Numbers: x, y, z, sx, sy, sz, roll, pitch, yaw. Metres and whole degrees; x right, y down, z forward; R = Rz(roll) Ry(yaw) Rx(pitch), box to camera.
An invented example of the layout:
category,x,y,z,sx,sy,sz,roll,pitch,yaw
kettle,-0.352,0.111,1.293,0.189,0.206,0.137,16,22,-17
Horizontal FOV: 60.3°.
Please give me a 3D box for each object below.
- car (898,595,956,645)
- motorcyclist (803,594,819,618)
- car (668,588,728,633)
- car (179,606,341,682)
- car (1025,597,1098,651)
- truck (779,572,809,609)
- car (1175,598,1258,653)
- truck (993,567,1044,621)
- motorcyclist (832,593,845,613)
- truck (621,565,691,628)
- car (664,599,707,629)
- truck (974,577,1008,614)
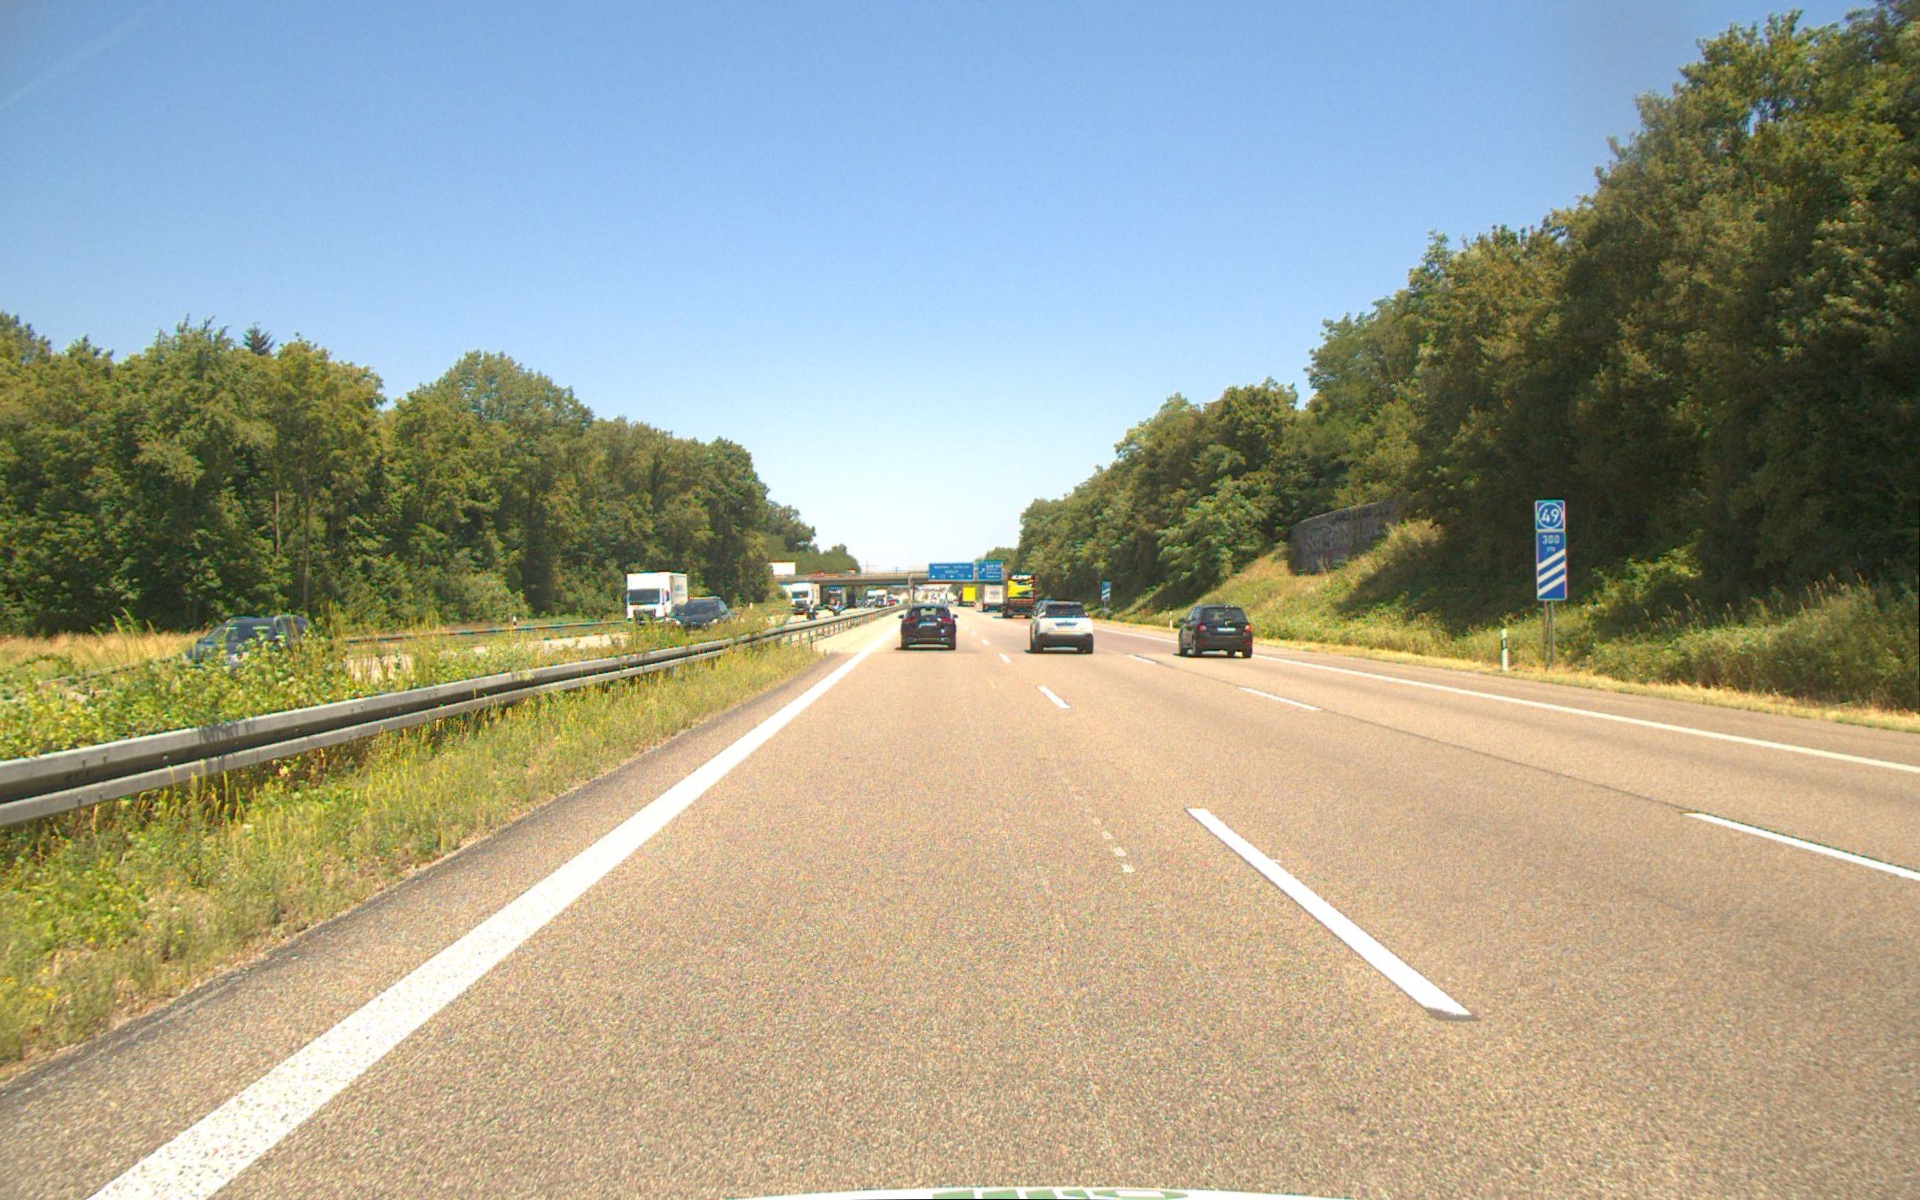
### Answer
category,x,y,z,sx,sy,sz,roll,pitch,yaw
car,-1.078,0.621,52.988,1.763,1.528,4.240,0,0,-2
motorcyclist,-11.383,0.474,126.408,1.129,1.847,1.027,-1,0,-1
car,-10.286,0.400,65.244,1.763,1.725,4.240,0,0,-1
car,-15.581,0.940,37.073,1.763,1.559,4.676,0,0,-2
car,3.077,0.703,50.956,1.861,1.559,4.240,0,0,-2
truck,-21.100,-1.185,210.569,2.897,4.594,12.634,-1,0,-2
car,7.268,0.688,47.219,1.753,1.487,3.949,0,0,0
truck,5.228,-0.522,151.888,3.574,4.670,15.760,1,0,-2
motorcyclist,-11.370,0.320,154.892,1.129,1.847,1.027,-1,0,-1
truck,-19.213,-0.221,105.041,2.739,3.696,10.693,-1,0,-2
car,-14.782,0.727,89.250,1.763,1.559,4.239,0,0,-2
truck,3.980,-0.539,217.466,3.574,4.670,17.240,1,0,-2
